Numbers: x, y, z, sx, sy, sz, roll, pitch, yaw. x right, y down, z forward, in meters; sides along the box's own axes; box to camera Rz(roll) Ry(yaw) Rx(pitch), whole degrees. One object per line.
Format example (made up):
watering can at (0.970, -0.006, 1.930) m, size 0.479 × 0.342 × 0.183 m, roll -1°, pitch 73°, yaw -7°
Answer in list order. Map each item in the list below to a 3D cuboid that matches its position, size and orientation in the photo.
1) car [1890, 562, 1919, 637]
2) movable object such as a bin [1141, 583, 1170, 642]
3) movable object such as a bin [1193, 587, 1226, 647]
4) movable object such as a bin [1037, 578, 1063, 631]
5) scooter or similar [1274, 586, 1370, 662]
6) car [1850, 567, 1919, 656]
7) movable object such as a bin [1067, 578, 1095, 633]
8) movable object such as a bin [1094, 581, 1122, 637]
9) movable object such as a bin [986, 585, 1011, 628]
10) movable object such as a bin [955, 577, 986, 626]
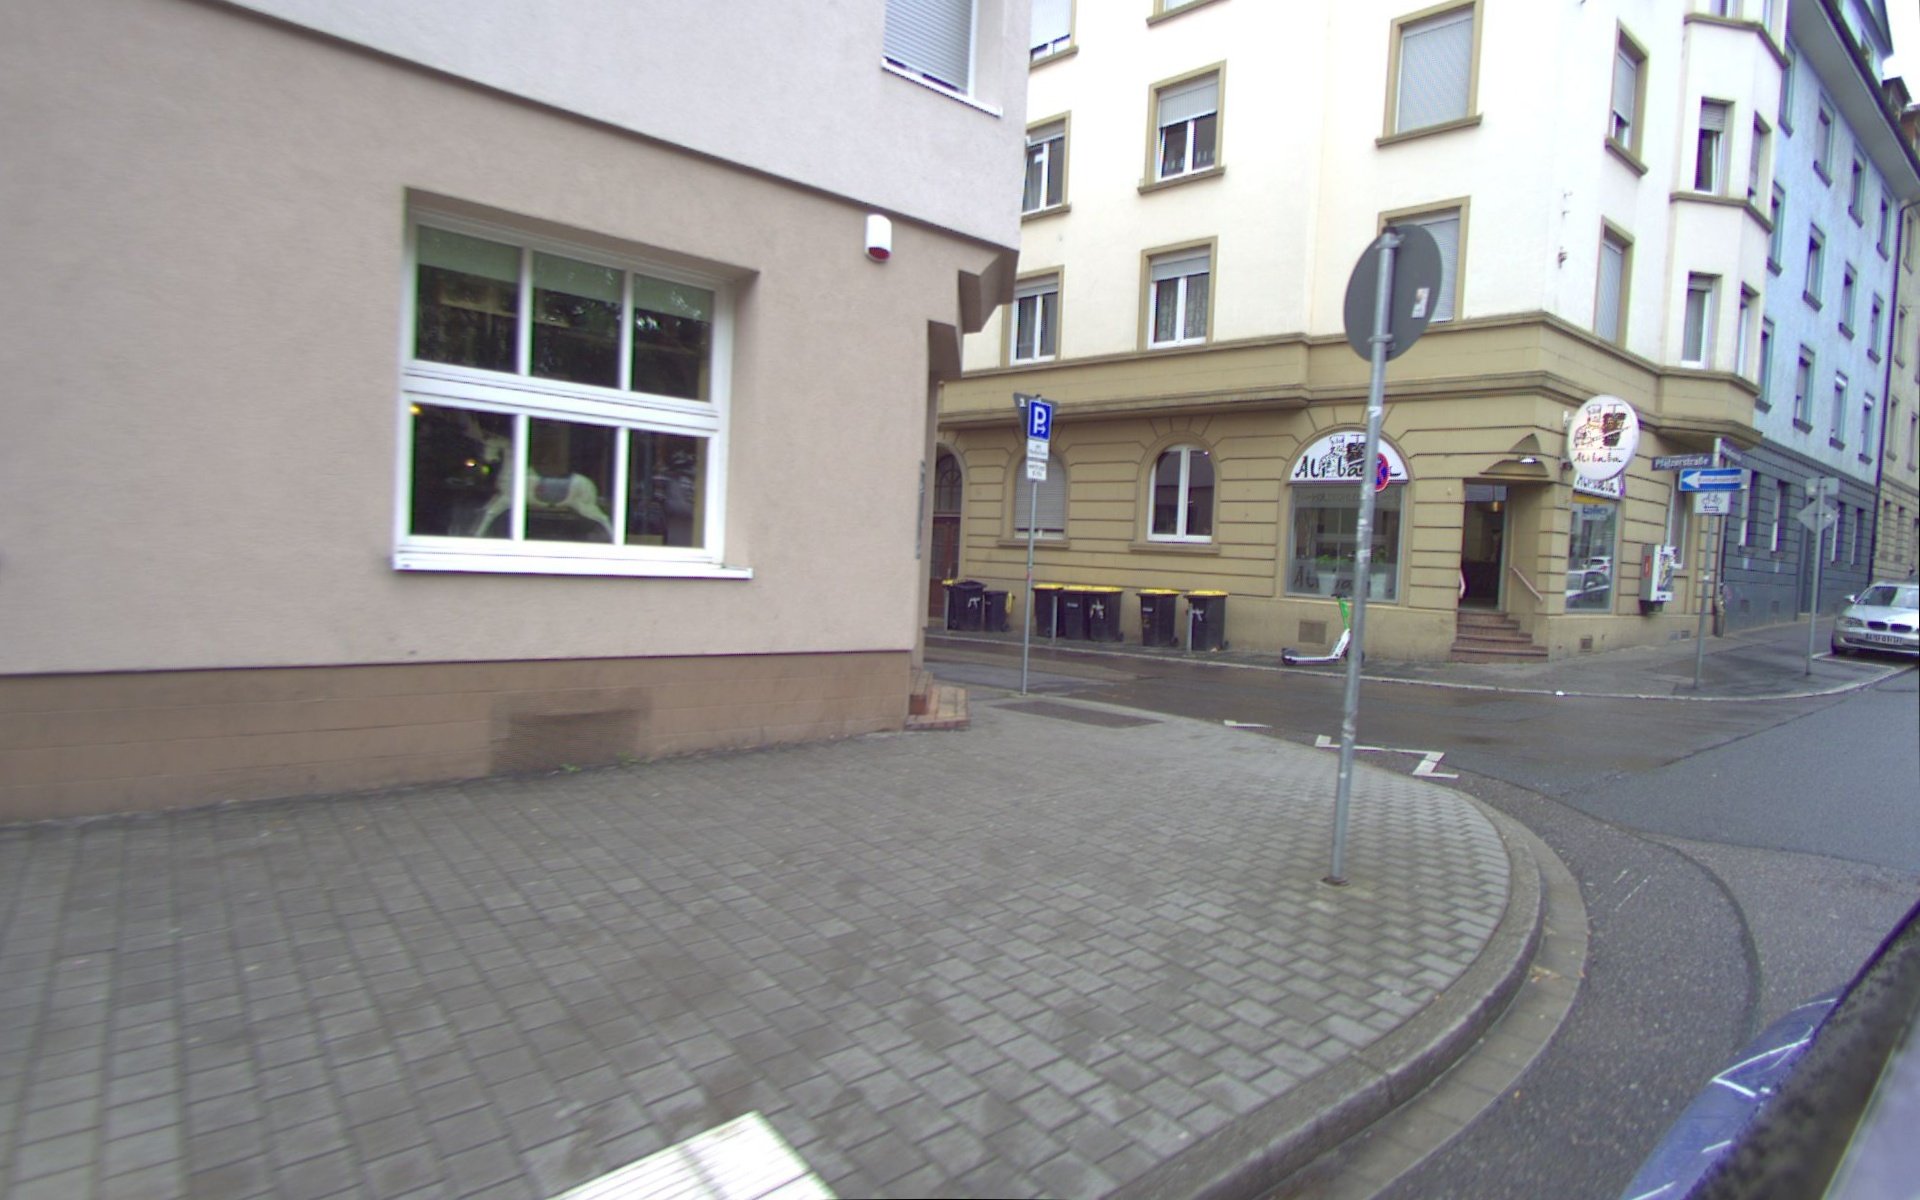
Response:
car at (22.796, -0.006, 22.951) m, size 4.216 × 1.576 × 1.823 m, roll -2°, pitch 6°, yaw -39°
movable object such as a bin at (3.666, 0.220, 18.968) m, size 0.347 × 1.079 × 0.436 m, roll 0°, pitch 2°, yaw 40°
movable object such as a bin at (4.497, 0.290, 18.239) m, size 0.515 × 1.058 × 0.343 m, roll -1°, pitch 1°, yaw -39°
movable object such as a bin at (1.843, 0.094, 20.768) m, size 0.332 × 1.058 × 0.386 m, roll -3°, pitch 2°, yaw -45°
scooter or similar at (5.744, 0.380, 16.105) m, size 1.354 × 1.142 × 0.466 m, roll -1°, pitch 5°, yaw 9°
car at (18.488, 0.186, 19.256) m, size 4.016 × 1.481 × 1.574 m, roll -2°, pitch 6°, yaw -39°
movable object such as a bin at (2.424, 0.104, 20.268) m, size 0.453 × 1.058 × 0.348 m, roll -3°, pitch 2°, yaw -45°
movable object such as a bin at (2.911, 0.163, 19.857) m, size 0.347 × 1.058 × 0.454 m, roll 3°, pitch 5°, yaw 42°
movable object such as a bin at (0.842, 0.135, 21.898) m, size 0.417 × 0.902 × 0.336 m, roll -3°, pitch 2°, yaw -45°
movable object such as a bin at (0.228, 0.029, 21.877) m, size 0.494 × 1.007 × 0.448 m, roll -2°, pitch 4°, yaw -36°
